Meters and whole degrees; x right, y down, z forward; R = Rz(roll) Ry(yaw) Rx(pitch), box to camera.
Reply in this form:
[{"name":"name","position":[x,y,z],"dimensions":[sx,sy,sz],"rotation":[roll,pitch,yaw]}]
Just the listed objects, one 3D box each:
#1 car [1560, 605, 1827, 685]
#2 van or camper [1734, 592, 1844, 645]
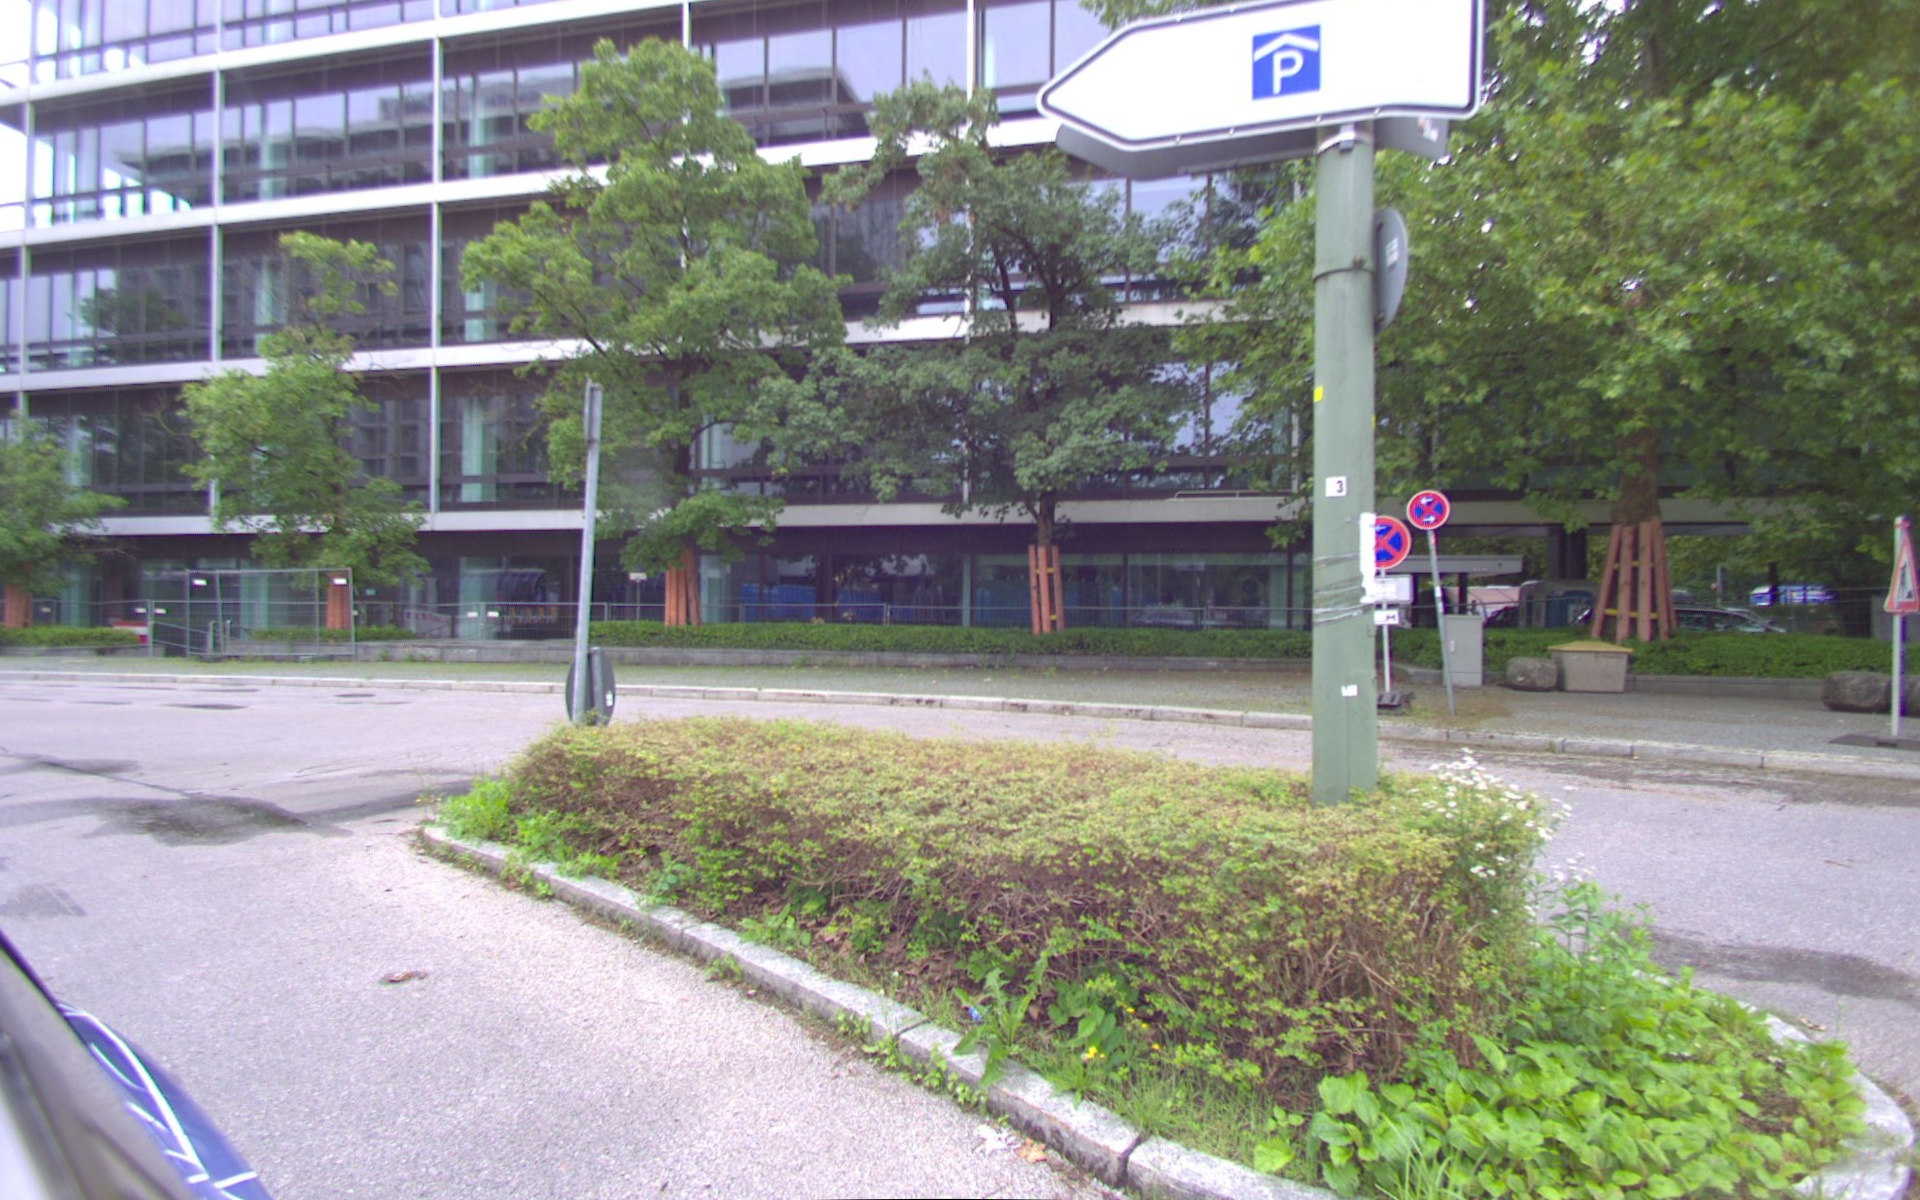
[{"name":"car","position":[14.437,0.849,20.183],"dimensions":[3.824,1.484,1.904],"rotation":[0,-1,15]},{"name":"van or camper","position":[42.519,0.941,52.068],"dimensions":[2.252,2.615,4.638],"rotation":[0,-1,9]}]
